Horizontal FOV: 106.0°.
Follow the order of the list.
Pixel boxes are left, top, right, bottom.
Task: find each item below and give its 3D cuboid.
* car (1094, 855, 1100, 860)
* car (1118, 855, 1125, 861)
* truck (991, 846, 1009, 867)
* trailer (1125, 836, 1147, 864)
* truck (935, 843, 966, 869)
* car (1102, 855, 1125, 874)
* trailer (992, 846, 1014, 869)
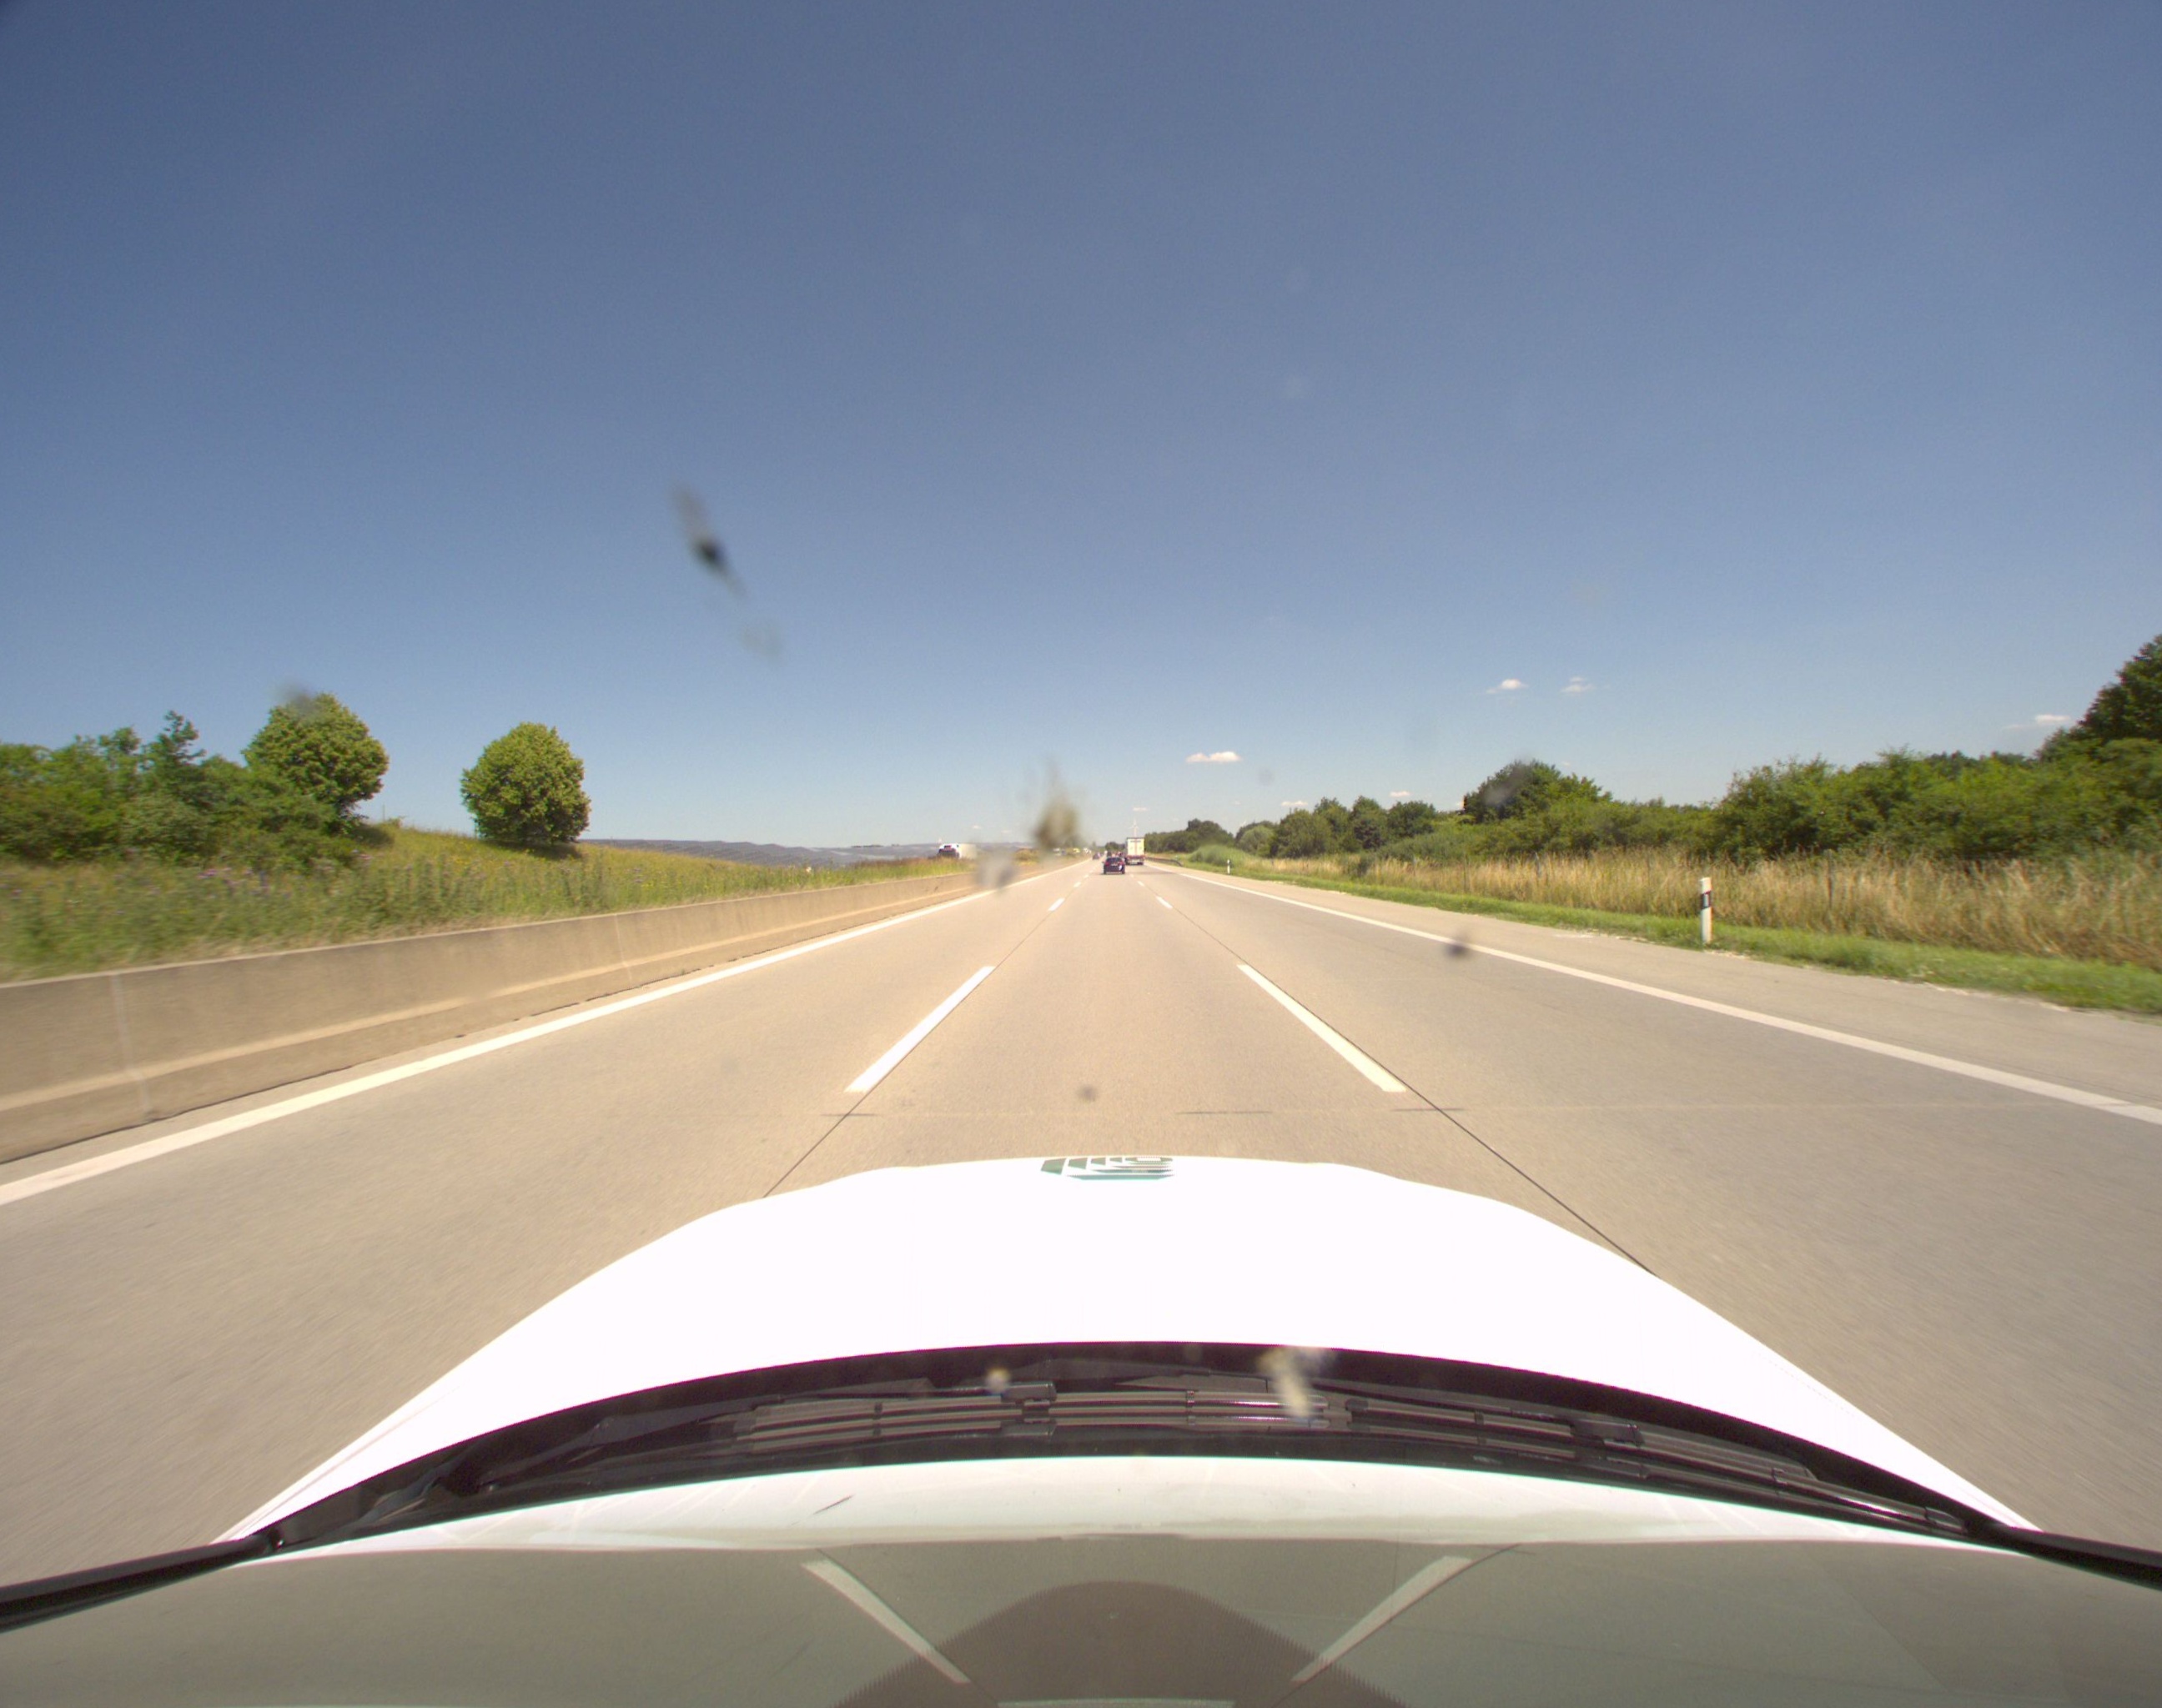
[{"bbox_3d":[4.331,1.035,223.163,1.649,1.196,3.962,2,0,2],"label":"car"},{"bbox_3d":[12.162,1.180,244.714,1.818,1.907,4.005,-1,0,5],"label":"car"},{"bbox_3d":[-15.426,0.507,154.743,2.734,3.951,4.355,0,0,2],"label":"truck"},{"bbox_3d":[8.289,-0.511,123.771,2.841,4.042,12.720,0,0,2],"label":"trailer"},{"bbox_3d":[-16.825,0.243,105.260,2.822,3.157,5.829,-2,-1,2],"label":"truck"},{"bbox_3d":[2.704,0.880,68.069,1.903,1.492,4.193,0,0,1],"label":"car"},{"bbox_3d":[-15.208,0.682,159.282,2.722,4.191,10.262,-1,0,2],"label":"trailer"}]
